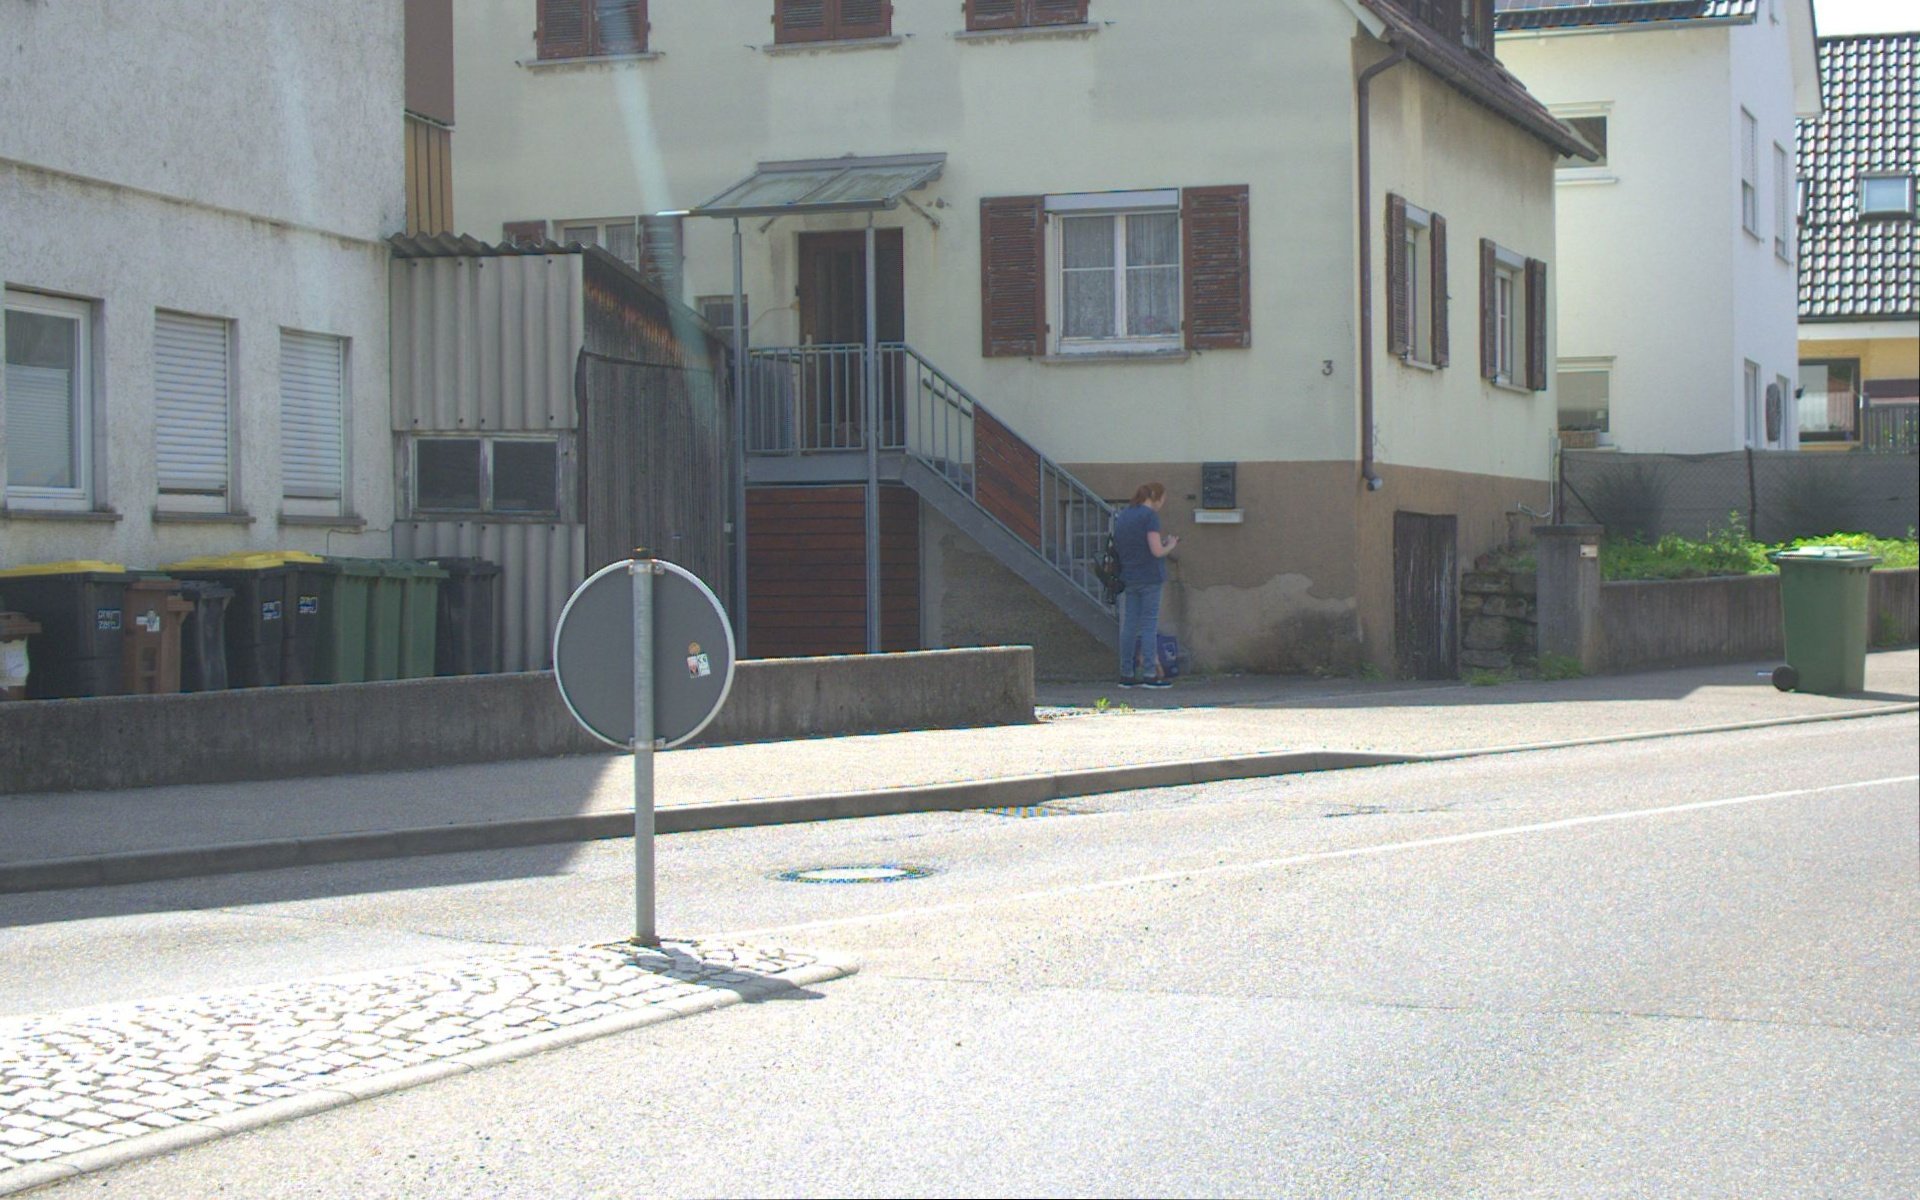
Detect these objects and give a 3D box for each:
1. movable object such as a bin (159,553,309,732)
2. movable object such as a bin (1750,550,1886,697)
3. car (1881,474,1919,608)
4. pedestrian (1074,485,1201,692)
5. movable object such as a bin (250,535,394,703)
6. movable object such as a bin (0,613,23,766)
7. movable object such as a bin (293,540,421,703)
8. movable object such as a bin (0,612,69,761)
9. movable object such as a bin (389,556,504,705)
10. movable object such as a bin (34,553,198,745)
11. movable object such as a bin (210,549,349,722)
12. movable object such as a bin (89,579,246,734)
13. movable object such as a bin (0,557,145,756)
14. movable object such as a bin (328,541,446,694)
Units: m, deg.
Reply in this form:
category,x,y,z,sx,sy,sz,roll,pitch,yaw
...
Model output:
category,x,y,z,sx,sy,sz,roll,pitch,yaw
movable object such as a bin,-4.508,0.252,21.382,0.683,1.078,0.698,0,2,12
movable object such as a bin,6.359,0.165,25.468,0.793,1.053,0.650,0,2,34
car,13.532,-0.718,41.466,4.407,1.617,1.997,0,1,25
pedestrian,1.368,-0.102,26.484,0.778,1.568,0.627,1,2,29
movable object such as a bin,-4.207,0.115,22.698,0.739,1.078,0.660,0,2,12
movable object such as a bin,-5.339,0.480,18.169,0.485,0.802,0.646,0,2,13
movable object such as a bin,-4.069,0.136,23.239,0.678,1.078,0.583,0,2,12
movable object such as a bin,-5.206,0.467,18.748,0.485,0.778,0.527,0,2,11
movable object such as a bin,-3.651,0.211,24.469,0.629,1.030,0.613,0,2,12
movable object such as a bin,-4.904,0.274,19.996,0.683,1.082,0.698,0,2,12
movable object such as a bin,-4.361,0.221,22.053,0.683,1.078,0.625,0,2,12
movable object such as a bin,-4.767,0.332,20.706,0.683,0.893,0.698,0,2,12
movable object such as a bin,-5.038,0.305,19.315,0.683,1.082,0.645,0,2,12
movable object such as a bin,-3.974,0.114,23.878,0.627,1.031,0.603,0,2,12
